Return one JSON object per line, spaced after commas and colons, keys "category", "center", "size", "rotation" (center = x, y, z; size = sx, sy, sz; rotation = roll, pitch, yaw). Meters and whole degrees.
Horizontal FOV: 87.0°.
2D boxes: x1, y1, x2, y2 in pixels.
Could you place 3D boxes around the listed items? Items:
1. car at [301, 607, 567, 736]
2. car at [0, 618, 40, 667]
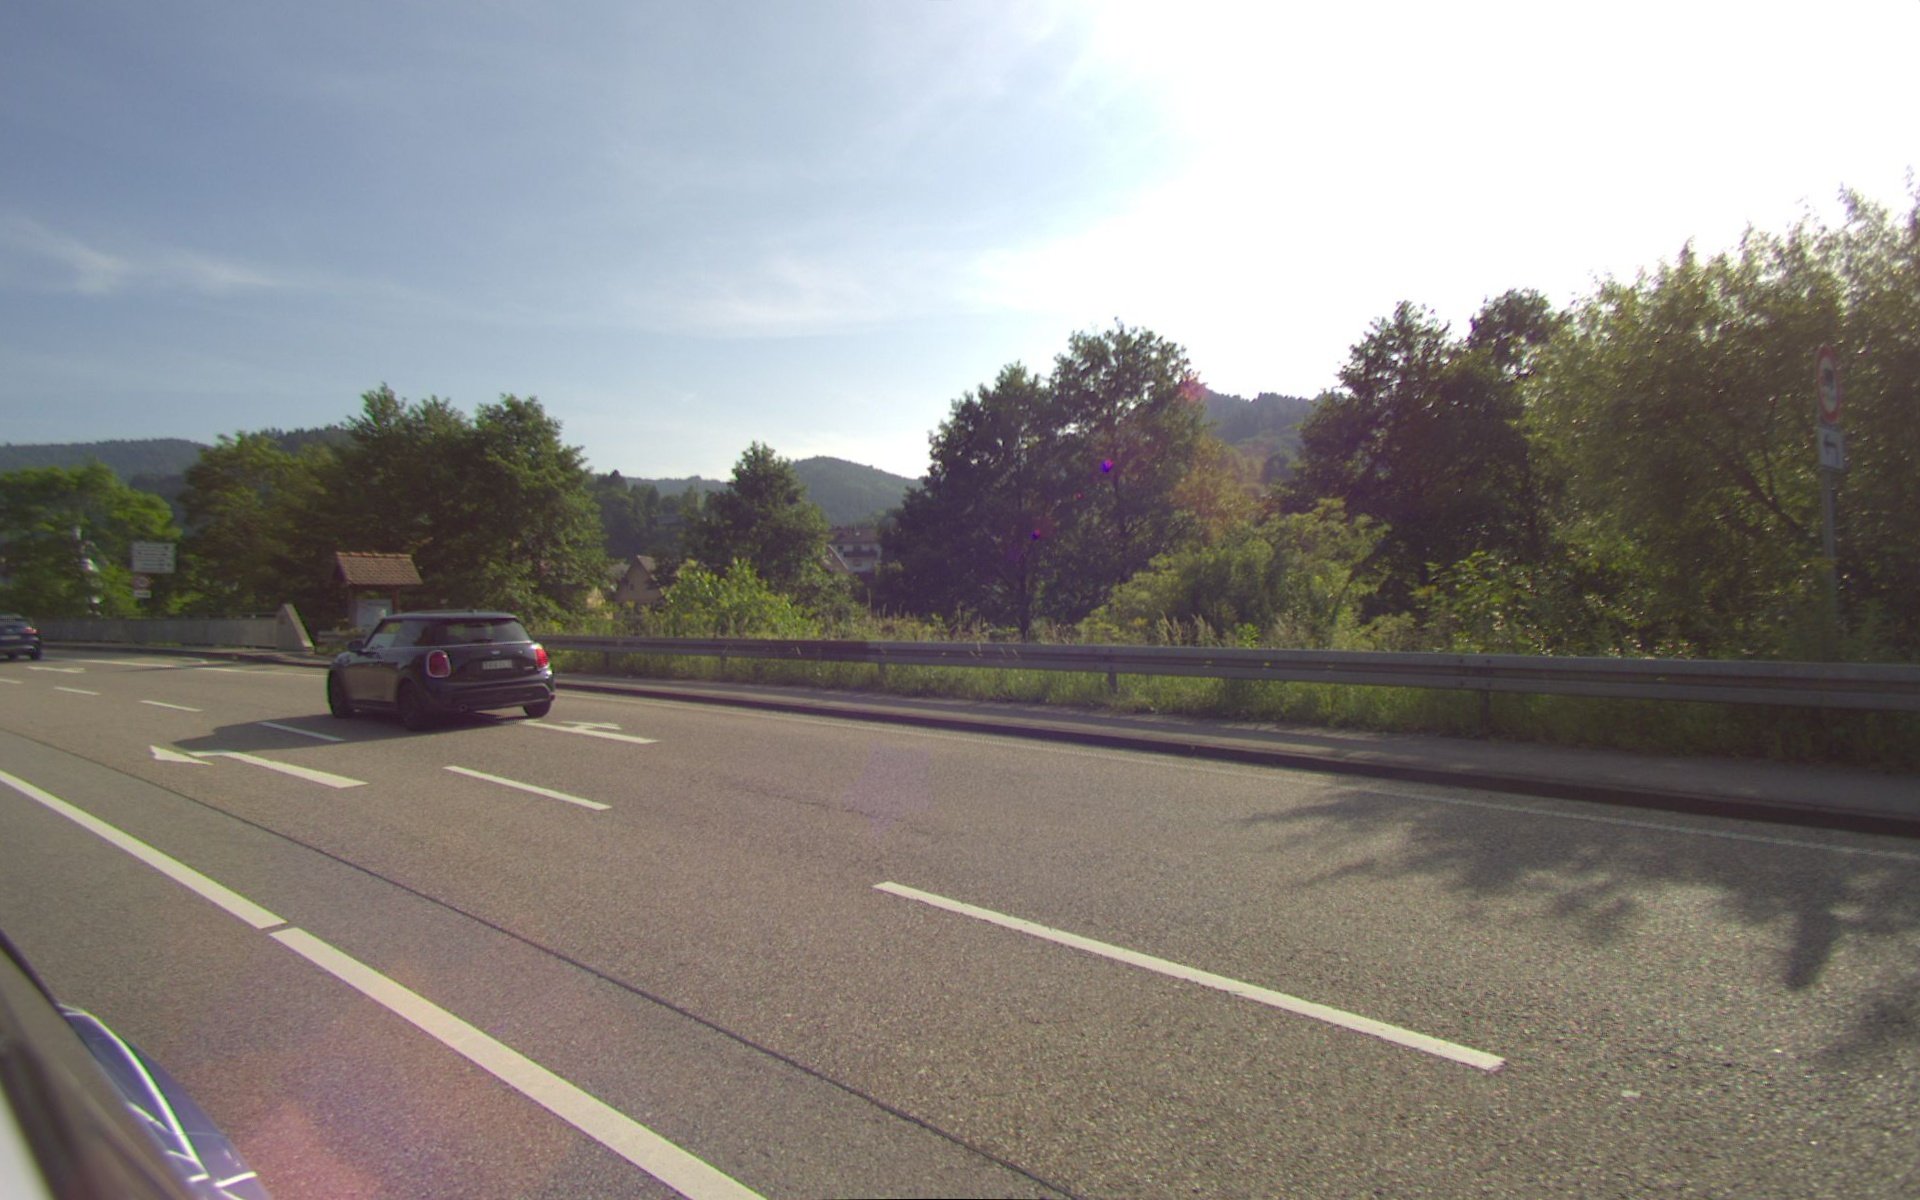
{"category": "car", "center": [-7.027, 0.848, 13.337], "size": [4.199, 1.413, 1.676], "rotation": [-2, -1, 41]}
{"category": "car", "center": [-31.337, 1.366, 32.598], "size": [4.537, 1.480, 1.833], "rotation": [-2, 0, 39]}
